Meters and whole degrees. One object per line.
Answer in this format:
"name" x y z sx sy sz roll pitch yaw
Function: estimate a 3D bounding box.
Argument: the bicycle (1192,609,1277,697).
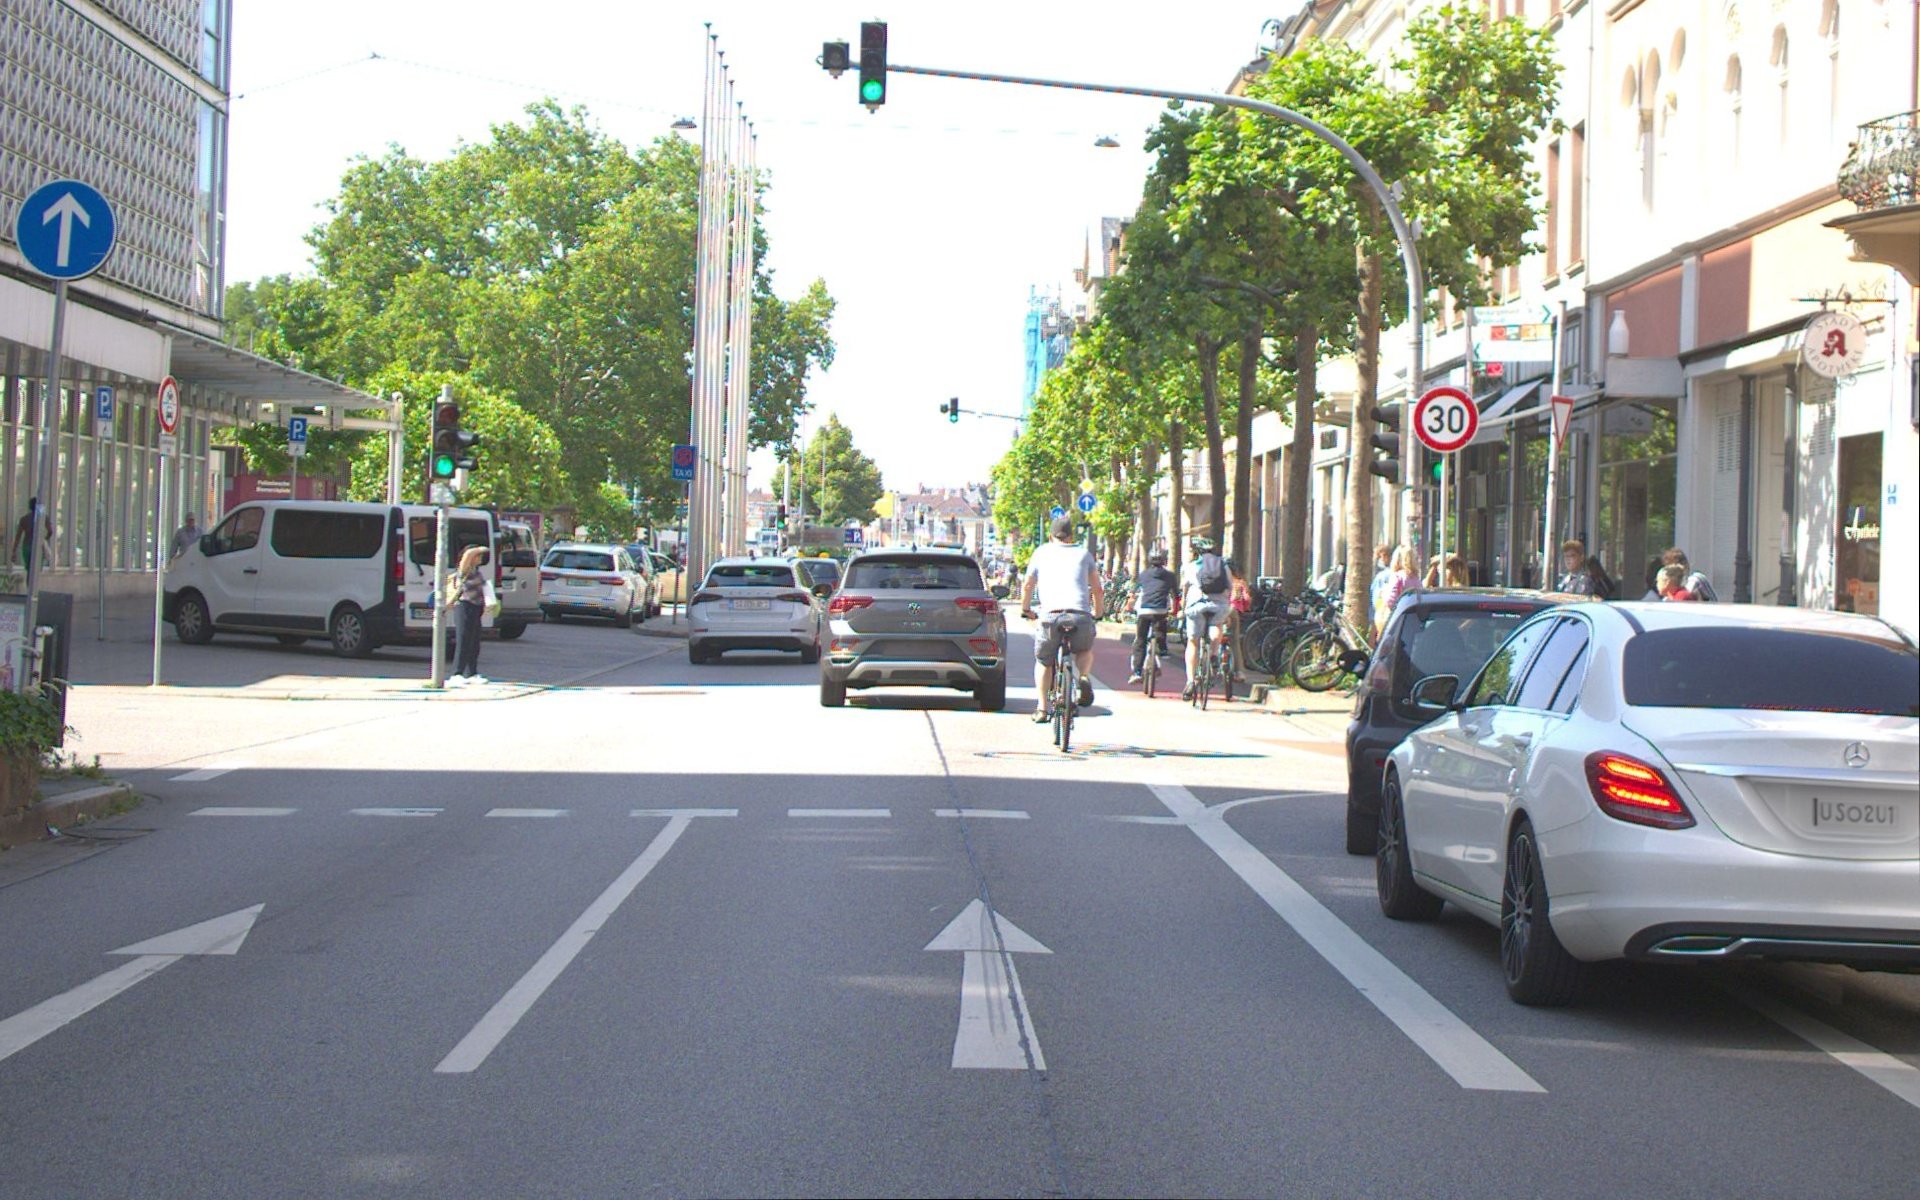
"bicycle" 3.055 0.583 38.460 0.600 0.923 2.087 3 -1 -4

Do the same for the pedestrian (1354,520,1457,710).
"pedestrian" 4.161 0.148 32.151 0.639 1.703 0.790 -5 -2 -4

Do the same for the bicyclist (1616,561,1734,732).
"bicyclist" 5.986 0.385 28.798 0.859 1.406 0.501 1 1 1

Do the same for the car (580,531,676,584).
"car" -13.237 -1.682 137.345 1.861 1.948 4.755 2 0 21

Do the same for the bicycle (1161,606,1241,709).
"bicycle" 2.471 0.576 35.428 0.630 0.976 2.089 1 1 -1

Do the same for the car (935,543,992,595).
"car" 0.125 -1.074 118.720 1.845 1.662 4.000 3 1 0

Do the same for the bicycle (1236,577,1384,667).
"bicycle" 4.530 0.284 44.541 1.840 1.123 0.643 1 0 2

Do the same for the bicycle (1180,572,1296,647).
"bicycle" 4.359 0.153 53.819 1.840 1.123 0.594 2 -1 -36

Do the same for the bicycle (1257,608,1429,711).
"bicycle" 4.457 0.696 40.087 1.851 0.395 1.019 10 -34 4

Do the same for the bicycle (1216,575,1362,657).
"bicycle" 4.744 0.229 49.515 1.987 1.123 0.761 1 0 13

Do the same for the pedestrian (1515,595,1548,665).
"pedestrian" 8.033 0.425 48.339 0.364 0.965 0.437 2 1 1

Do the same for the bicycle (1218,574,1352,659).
"bicycle" 4.753 0.246 50.228 1.841 1.123 0.530 4 0 12

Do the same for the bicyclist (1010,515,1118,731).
"bicyclist" 0.799 0.167 26.620 0.774 1.629 0.851 1 1 0

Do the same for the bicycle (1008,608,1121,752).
"bicycle" 0.792 0.596 26.643 0.774 1.002 2.329 1 1 0

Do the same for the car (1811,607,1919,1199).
"car" 3.089 0.815 6.195 1.886 1.486 4.290 3 0 -1

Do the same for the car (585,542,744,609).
"car" -7.778 -0.665 90.948 1.894 1.536 4.855 3 3 26

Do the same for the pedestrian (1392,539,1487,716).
"pedestrian" 4.989 0.281 35.815 0.787 1.789 0.641 3 1 -3

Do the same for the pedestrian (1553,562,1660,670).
"pedestrian" 8.653 0.217 46.037 1.233 1.417 0.790 1 0 -3

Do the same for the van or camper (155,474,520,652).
"van or camper" -8.053 -0.493 44.247 4.656 2.006 1.995 4 2 39

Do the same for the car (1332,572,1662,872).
"car" 3.040 0.640 19.589 1.629 1.473 3.730 2 0 8

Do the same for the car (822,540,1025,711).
"car" -0.419 0.204 33.933 1.845 1.554 4.001 1 1 -3

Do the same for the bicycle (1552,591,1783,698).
"bicycle" 5.922 0.370 28.813 1.821 0.841 0.501 1 1 1

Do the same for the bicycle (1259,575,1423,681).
"bicycle" 4.531 0.328 40.884 1.841 1.123 0.345 4 2 15

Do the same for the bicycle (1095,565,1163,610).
"bicycle" 4.376 -0.333 88.962 1.728 1.105 0.477 2 0 2

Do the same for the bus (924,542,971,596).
"bus" -0.926 -2.152 240.504 2.995 3.582 11.745 2 0 -1

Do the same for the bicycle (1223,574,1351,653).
"bicycle" 4.849 0.202 51.029 1.840 1.123 0.448 1 -1 3

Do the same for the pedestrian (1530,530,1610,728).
"pedestrian" 5.828 0.276 32.846 0.639 1.836 0.614 3 0 11

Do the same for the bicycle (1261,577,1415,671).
"bicycle" 4.717 0.295 42.965 1.840 1.123 0.666 1 0 2

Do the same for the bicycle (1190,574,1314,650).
"bicycle" 4.483 0.180 52.789 1.843 1.123 0.447 1 -1 28

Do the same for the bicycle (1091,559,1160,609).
"bicycle" 4.293 -0.415 89.322 1.728 1.213 0.477 2 0 2

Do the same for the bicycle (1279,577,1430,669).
"bicycle" 5.036 0.296 43.934 1.840 1.123 0.666 1 0 2

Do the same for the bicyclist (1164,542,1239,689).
"bicyclist" 2.480 0.150 35.434 0.630 1.476 1.198 1 1 -1

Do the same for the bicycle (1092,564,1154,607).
"bicycle" 4.440 -0.394 93.747 1.649 1.091 0.607 2 1 2

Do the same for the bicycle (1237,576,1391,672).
"bicycle" 4.347 0.292 42.205 1.840 1.123 0.666 1 0 7

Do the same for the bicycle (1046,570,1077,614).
"bicycle" 2.387 -0.187 80.977 0.647 0.994 2.031 2 1 -1

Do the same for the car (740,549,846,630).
"car" -3.115 -0.221 64.806 1.845 1.444 4.000 1 1 -1

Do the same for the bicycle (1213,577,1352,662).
"bicycle" 4.411 0.266 47.094 1.840 1.123 0.530 1 -1 2

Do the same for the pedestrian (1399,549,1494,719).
"pedestrian" 4.965 0.339 35.111 0.787 1.685 0.641 2 1 -3

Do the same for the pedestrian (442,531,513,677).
"pedestrian" -5.302 0.035 37.749 0.639 1.554 0.681 3 1 -12

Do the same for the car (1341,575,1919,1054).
"car" 2.842 0.691 13.426 1.952 1.420 4.887 3 1 -2

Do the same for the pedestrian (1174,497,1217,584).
"pedestrian" 4.715 -1.191 68.887 0.639 1.683 0.843 4 1 -3

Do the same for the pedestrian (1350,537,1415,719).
"pedestrian" 4.230 0.274 34.423 0.452 1.789 0.608 3 1 -3

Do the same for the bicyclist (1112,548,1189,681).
"bicyclist" 2.129 0.159 38.485 0.698 1.436 0.791 3 0 -4

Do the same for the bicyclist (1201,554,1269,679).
"bicyclist" 3.073 0.186 38.461 0.600 1.353 0.721 3 -1 -4

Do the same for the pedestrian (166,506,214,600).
"pedestrian" -12.853 -0.785 57.400 0.678 1.554 0.641 1 1 -5

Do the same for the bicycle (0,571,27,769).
"bicycle" -6.508 0.376 20.917 2.063 1.169 0.603 3 0 45

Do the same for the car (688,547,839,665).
"car" -2.694 0.050 47.868 1.845 1.554 4.000 1 1 0

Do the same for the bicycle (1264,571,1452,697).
"bicycle" 4.315 0.359 37.352 1.855 1.184 0.715 6 4 38

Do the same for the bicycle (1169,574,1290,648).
"bicycle" 4.325 0.177 55.174 1.840 1.089 0.564 3 0 0

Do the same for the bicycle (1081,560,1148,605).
"bicycle" 4.347 -0.483 96.994 1.844 1.197 0.608 2 1 2

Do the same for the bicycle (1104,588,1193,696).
"bicycle" 2.102 0.454 38.662 0.698 1.123 2.082 3 0 -4

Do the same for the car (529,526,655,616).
"car" -6.807 -0.576 63.976 1.799 1.518 4.739 3 1 0

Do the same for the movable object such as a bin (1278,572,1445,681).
"movable object such as a bin" 4.831 0.308 41.325 1.852 1.185 0.652 4 1 15

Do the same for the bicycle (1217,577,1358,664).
"bicycle" 4.413 0.271 46.400 1.840 1.123 0.666 1 0 2

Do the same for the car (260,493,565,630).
"car" -8.377 -0.603 52.474 4.441 1.903 2.005 3 2 36

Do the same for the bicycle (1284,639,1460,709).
"bicycle" 4.691 0.852 39.287 1.136 0.432 1.856 -10 -3 -26

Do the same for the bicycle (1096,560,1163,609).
"bicycle" 4.465 -0.408 90.538 1.728 1.213 0.477 2 0 2
